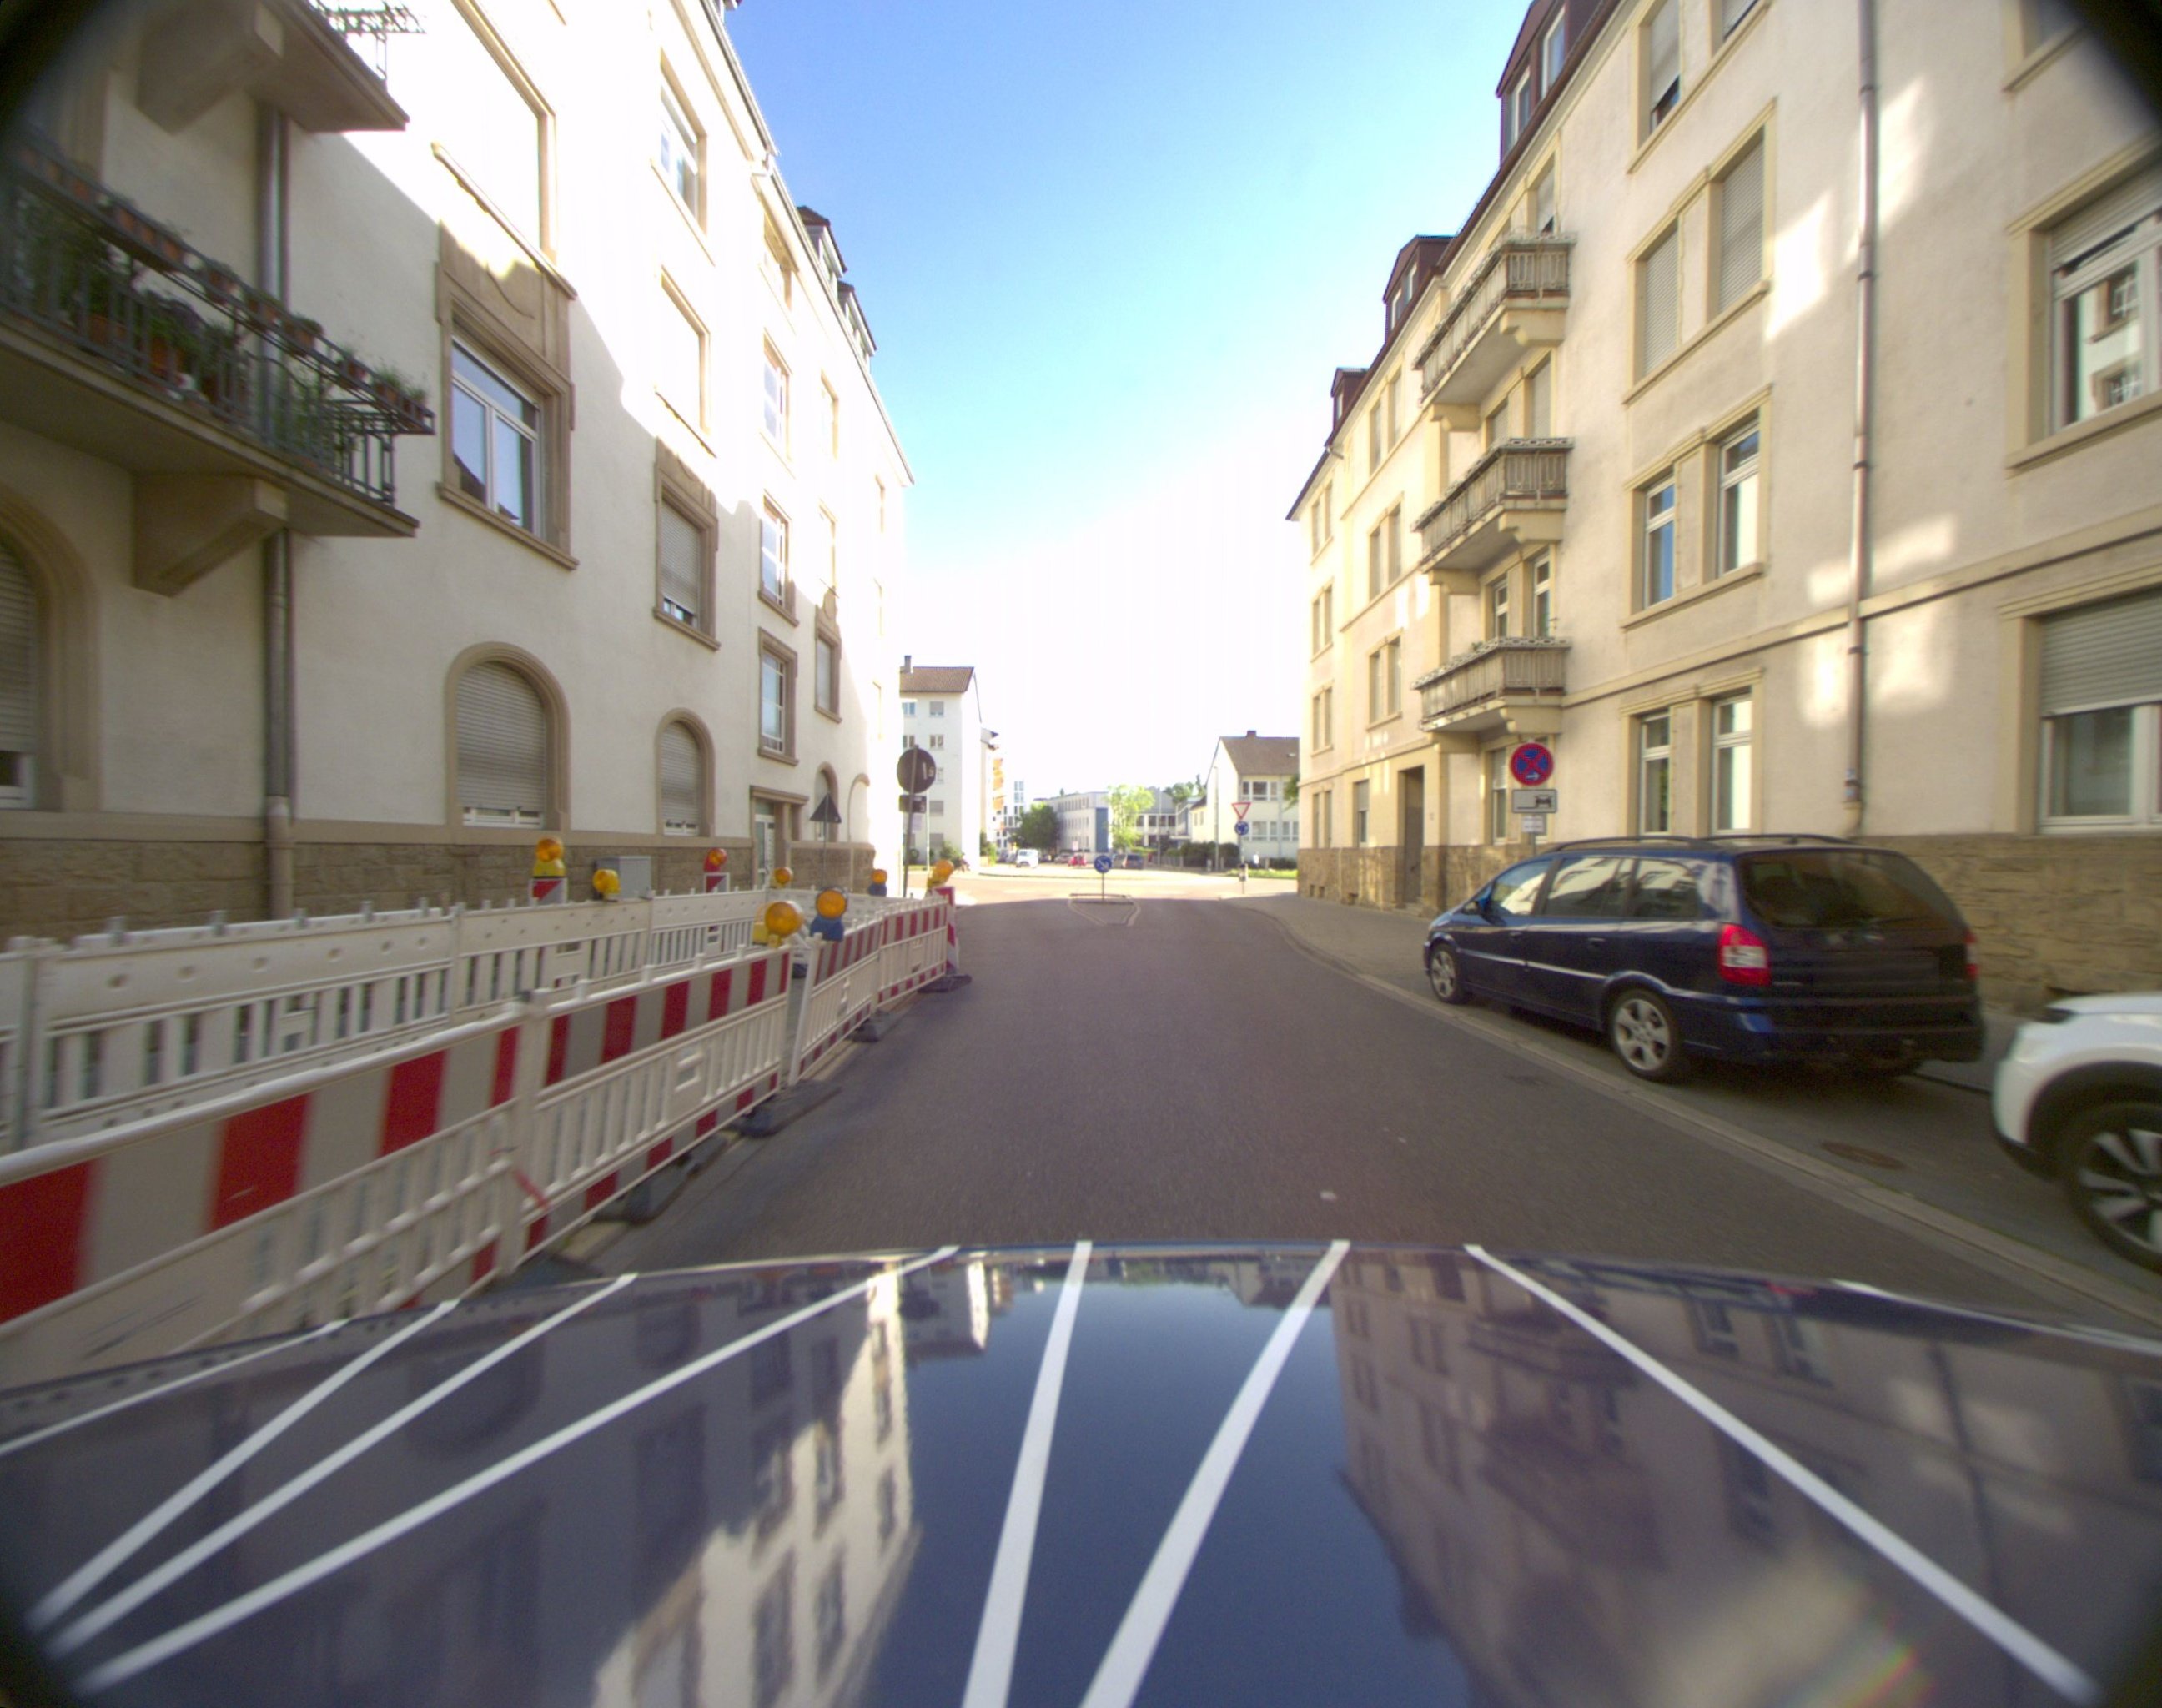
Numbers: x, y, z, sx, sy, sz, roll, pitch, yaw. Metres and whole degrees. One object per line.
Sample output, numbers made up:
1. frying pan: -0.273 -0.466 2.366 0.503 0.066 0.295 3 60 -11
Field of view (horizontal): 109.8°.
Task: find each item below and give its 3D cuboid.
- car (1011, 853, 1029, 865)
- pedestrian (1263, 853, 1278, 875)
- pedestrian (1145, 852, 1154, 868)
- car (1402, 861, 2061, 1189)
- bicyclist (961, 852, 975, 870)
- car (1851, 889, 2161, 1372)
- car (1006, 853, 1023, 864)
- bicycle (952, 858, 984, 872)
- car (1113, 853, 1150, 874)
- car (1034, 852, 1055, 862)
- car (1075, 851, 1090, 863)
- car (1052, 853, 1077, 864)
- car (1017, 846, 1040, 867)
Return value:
1. car: -8.718 0.729 108.676 1.760 1.445 3.994 5 -1 -14
2. pedestrian: 14.910 0.795 59.751 0.995 1.696 0.693 1 1 23
3. pedestrian: 7.377 0.689 82.144 0.819 1.696 0.996 0 1 -7
4. car: 4.496 0.967 6.336 1.767 1.760 4.293 0 0 -1
5. bicyclist: -8.292 0.476 55.575 0.826 1.304 0.809 0 1 -23
6. car: 4.616 0.983 1.513 1.767 1.611 4.294 0 0 -1
7. car: -9.872 0.701 113.028 1.760 1.445 3.994 5 -1 -15
8. bicycle: -8.280 0.826 55.581 2.213 1.008 0.809 0 1 -23
9. car: 4.203 0.800 64.274 1.882 1.685 4.268 1 -1 -14
10. car: -6.053 0.511 126.383 2.141 1.604 4.826 -1 1 -21
11. car: 0.132 0.416 96.029 1.716 1.374 3.999 3 -1 -2
12. car: -2.591 0.694 117.243 2.141 1.604 4.826 -1 1 -22
13. car: -5.677 0.272 83.074 1.998 2.002 4.797 4 0 1
